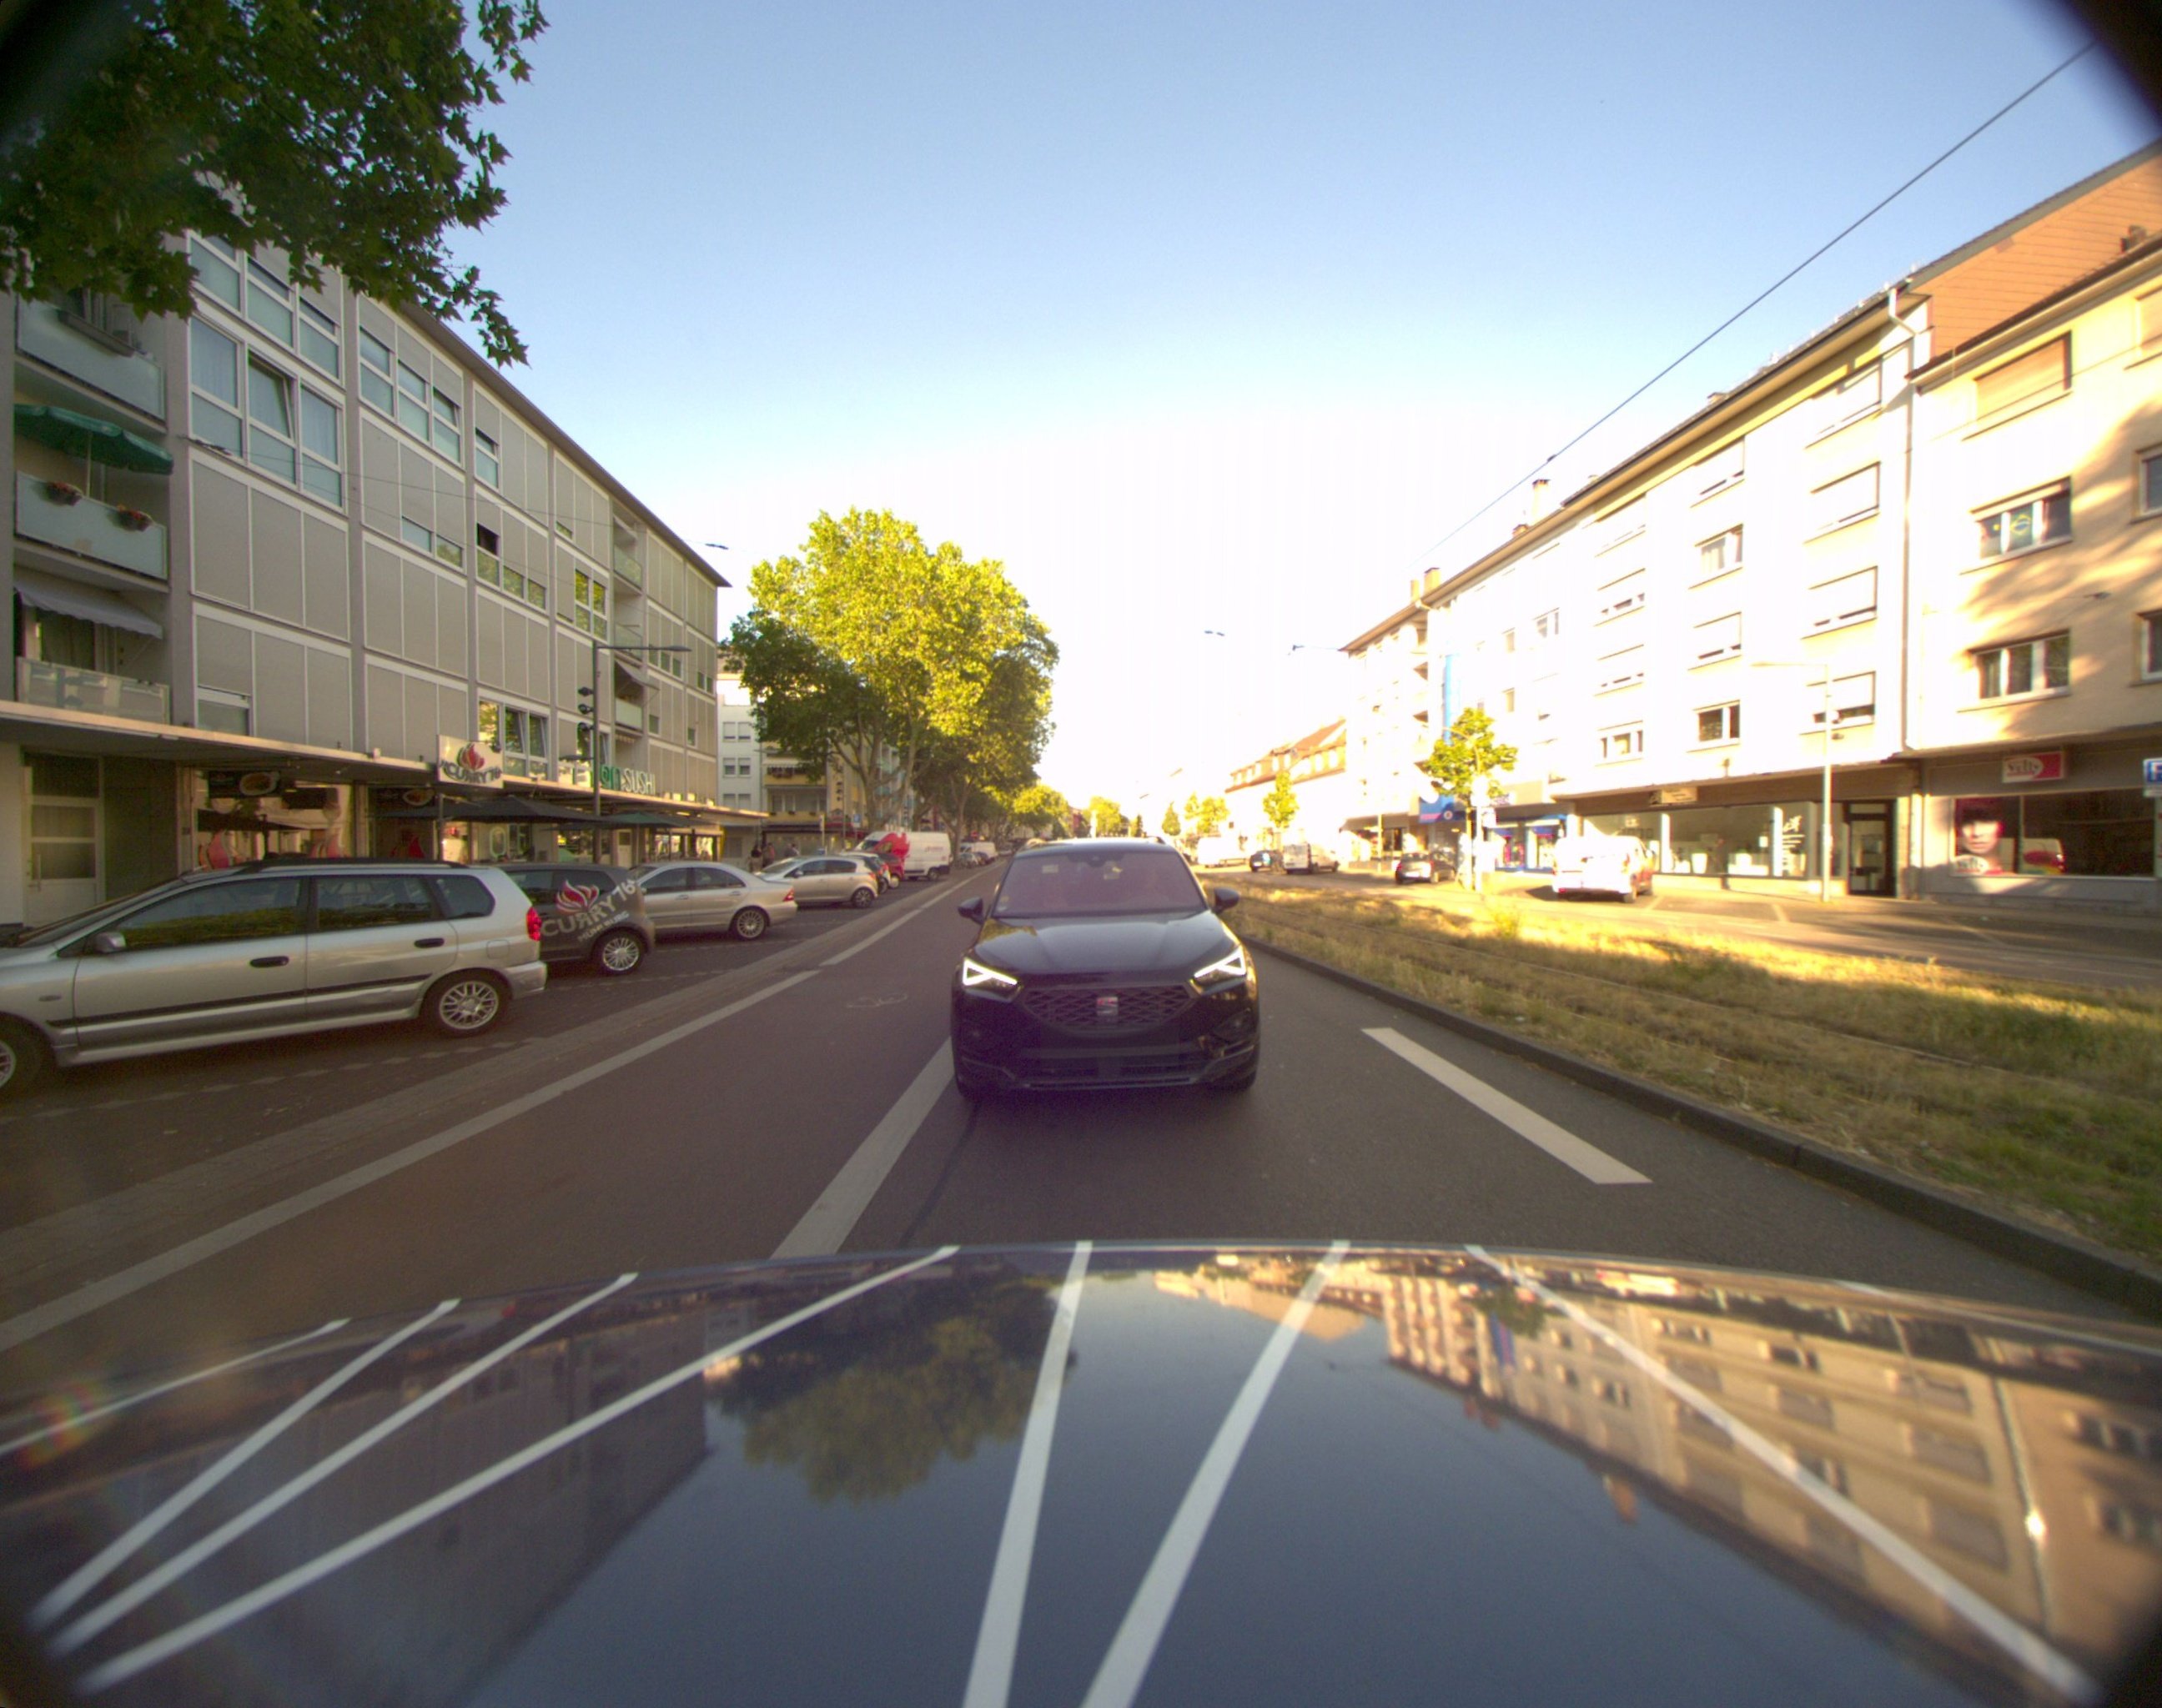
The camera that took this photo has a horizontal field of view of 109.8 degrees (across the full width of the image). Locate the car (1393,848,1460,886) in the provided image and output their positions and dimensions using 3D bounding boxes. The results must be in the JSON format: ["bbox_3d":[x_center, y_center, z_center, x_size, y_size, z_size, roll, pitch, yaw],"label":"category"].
[{"bbox_3d":[15.497,0.544,34.005,1.731,1.489,4.008,-1,1,40],"label":"car"}]

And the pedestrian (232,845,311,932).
[{"bbox_3d":[-15.075,0.617,14.168,0.583,1.573,0.771,0,1,2],"label":"pedestrian"}]

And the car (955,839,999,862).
[{"bbox_3d":[-11.650,-0.430,84.985,1.973,2.454,4.605,1,1,44],"label":"car"}]

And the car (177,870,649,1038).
[{"bbox_3d":[-7.604,0.961,9.015,1.672,1.420,3.950,2,1,38],"label":"car"}]

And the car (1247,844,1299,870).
[{"bbox_3d":[13.821,0.174,54.685,3.922,1.704,1.853,-3,1,-45],"label":"car"}]

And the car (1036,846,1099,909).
[{"bbox_3d":[-0.386,0.611,22.465,1.646,1.646,3.999,-2,1,-1],"label":"car"}]

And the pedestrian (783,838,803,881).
[{"bbox_3d":[-13.482,0.271,35.588,0.748,2.002,0.559,0,1,-4],"label":"pedestrian"}]

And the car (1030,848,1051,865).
[{"bbox_3d":[-3.719,0.217,71.173,1.729,1.443,4.227,-2,1,-1],"label":"car"}]

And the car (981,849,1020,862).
[{"bbox_3d":[-8.759,0.145,82.797,1.778,1.326,3.943,1,1,44],"label":"car"}]

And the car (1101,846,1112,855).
[{"bbox_3d":[5.433,-0.750,163.677,1.906,2.002,3.998,0,1,-5],"label":"car"}]

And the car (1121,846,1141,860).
[{"bbox_3d":[5.885,-0.105,89.404,1.846,1.571,4.449,0,1,-3],"label":"car"}]

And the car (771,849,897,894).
[{"bbox_3d":[-8.838,0.636,27.274,3.948,1.421,1.672,2,2,-32],"label":"car"}]

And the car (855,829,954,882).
[{"bbox_3d":[-8.718,0.072,37.864,4.606,2.479,1.672,0,0,-44],"label":"car"}]

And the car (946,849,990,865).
[{"bbox_3d":[-10.825,0.265,72.942,1.778,1.396,3.943,1,1,44],"label":"car"}]

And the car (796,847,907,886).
[{"bbox_3d":[-9.215,0.502,30.577,3.948,1.421,1.672,1,2,-32],"label":"car"}]

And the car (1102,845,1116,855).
[{"bbox_3d":[4.775,-0.669,131.206,1.999,1.783,3.998,0,1,-4],"label":"car"}]

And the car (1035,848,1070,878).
[{"bbox_3d":[-1.514,0.461,41.147,1.729,1.467,3.999,-2,1,-1],"label":"car"}]

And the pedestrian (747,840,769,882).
[{"bbox_3d":[-15.152,0.319,35.650,0.748,1.964,0.575,0,1,-4],"label":"pedestrian"}]

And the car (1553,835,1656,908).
[{"bbox_3d":[15.594,0.441,22.561,1.853,1.888,4.007,-1,2,44],"label":"car"}]

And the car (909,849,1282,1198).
[{"bbox_3d":[0.108,0.837,5.763,1.785,1.639,3.999,-2,1,1],"label":"car"}]

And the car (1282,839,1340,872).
[{"bbox_3d":[14.536,0.082,47.838,1.853,1.927,4.513,-1,1,40],"label":"car"}]

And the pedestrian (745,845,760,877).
[{"bbox_3d":[-16.829,0.363,38.929,0.537,1.630,0.478,0,1,-4],"label":"pedestrian"}]

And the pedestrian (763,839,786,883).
[{"bbox_3d":[-14.343,0.316,35.577,0.748,2.002,0.764,0,1,-4],"label":"pedestrian"}]

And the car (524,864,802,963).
[{"bbox_3d":[-7.159,0.914,13.310,1.592,1.393,3.950,2,1,41],"label":"car"}]

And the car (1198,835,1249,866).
[{"bbox_3d":[12.948,-0.381,68.604,1.922,2.599,6.601,-1,1,34],"label":"car"}]

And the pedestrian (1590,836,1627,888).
[{"bbox_3d":[18.893,0.291,27.236,0.757,1.817,0.917,-1,1,7],"label":"pedestrian"}]

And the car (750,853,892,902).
[{"bbox_3d":[-8.211,0.723,24.133,3.949,1.420,1.672,1,1,-34],"label":"car"}]

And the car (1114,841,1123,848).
[{"bbox_3d":[10.715,-2.731,219.116,2.497,1.871,5.274,0,1,3],"label":"car"}]

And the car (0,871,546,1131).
[{"bbox_3d":[-6.882,0.961,6.034,1.672,1.533,3.993,2,1,38],"label":"car"}]

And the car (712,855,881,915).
[{"bbox_3d":[-7.580,0.786,20.470,3.950,1.420,1.555,1,1,-45],"label":"car"}]
